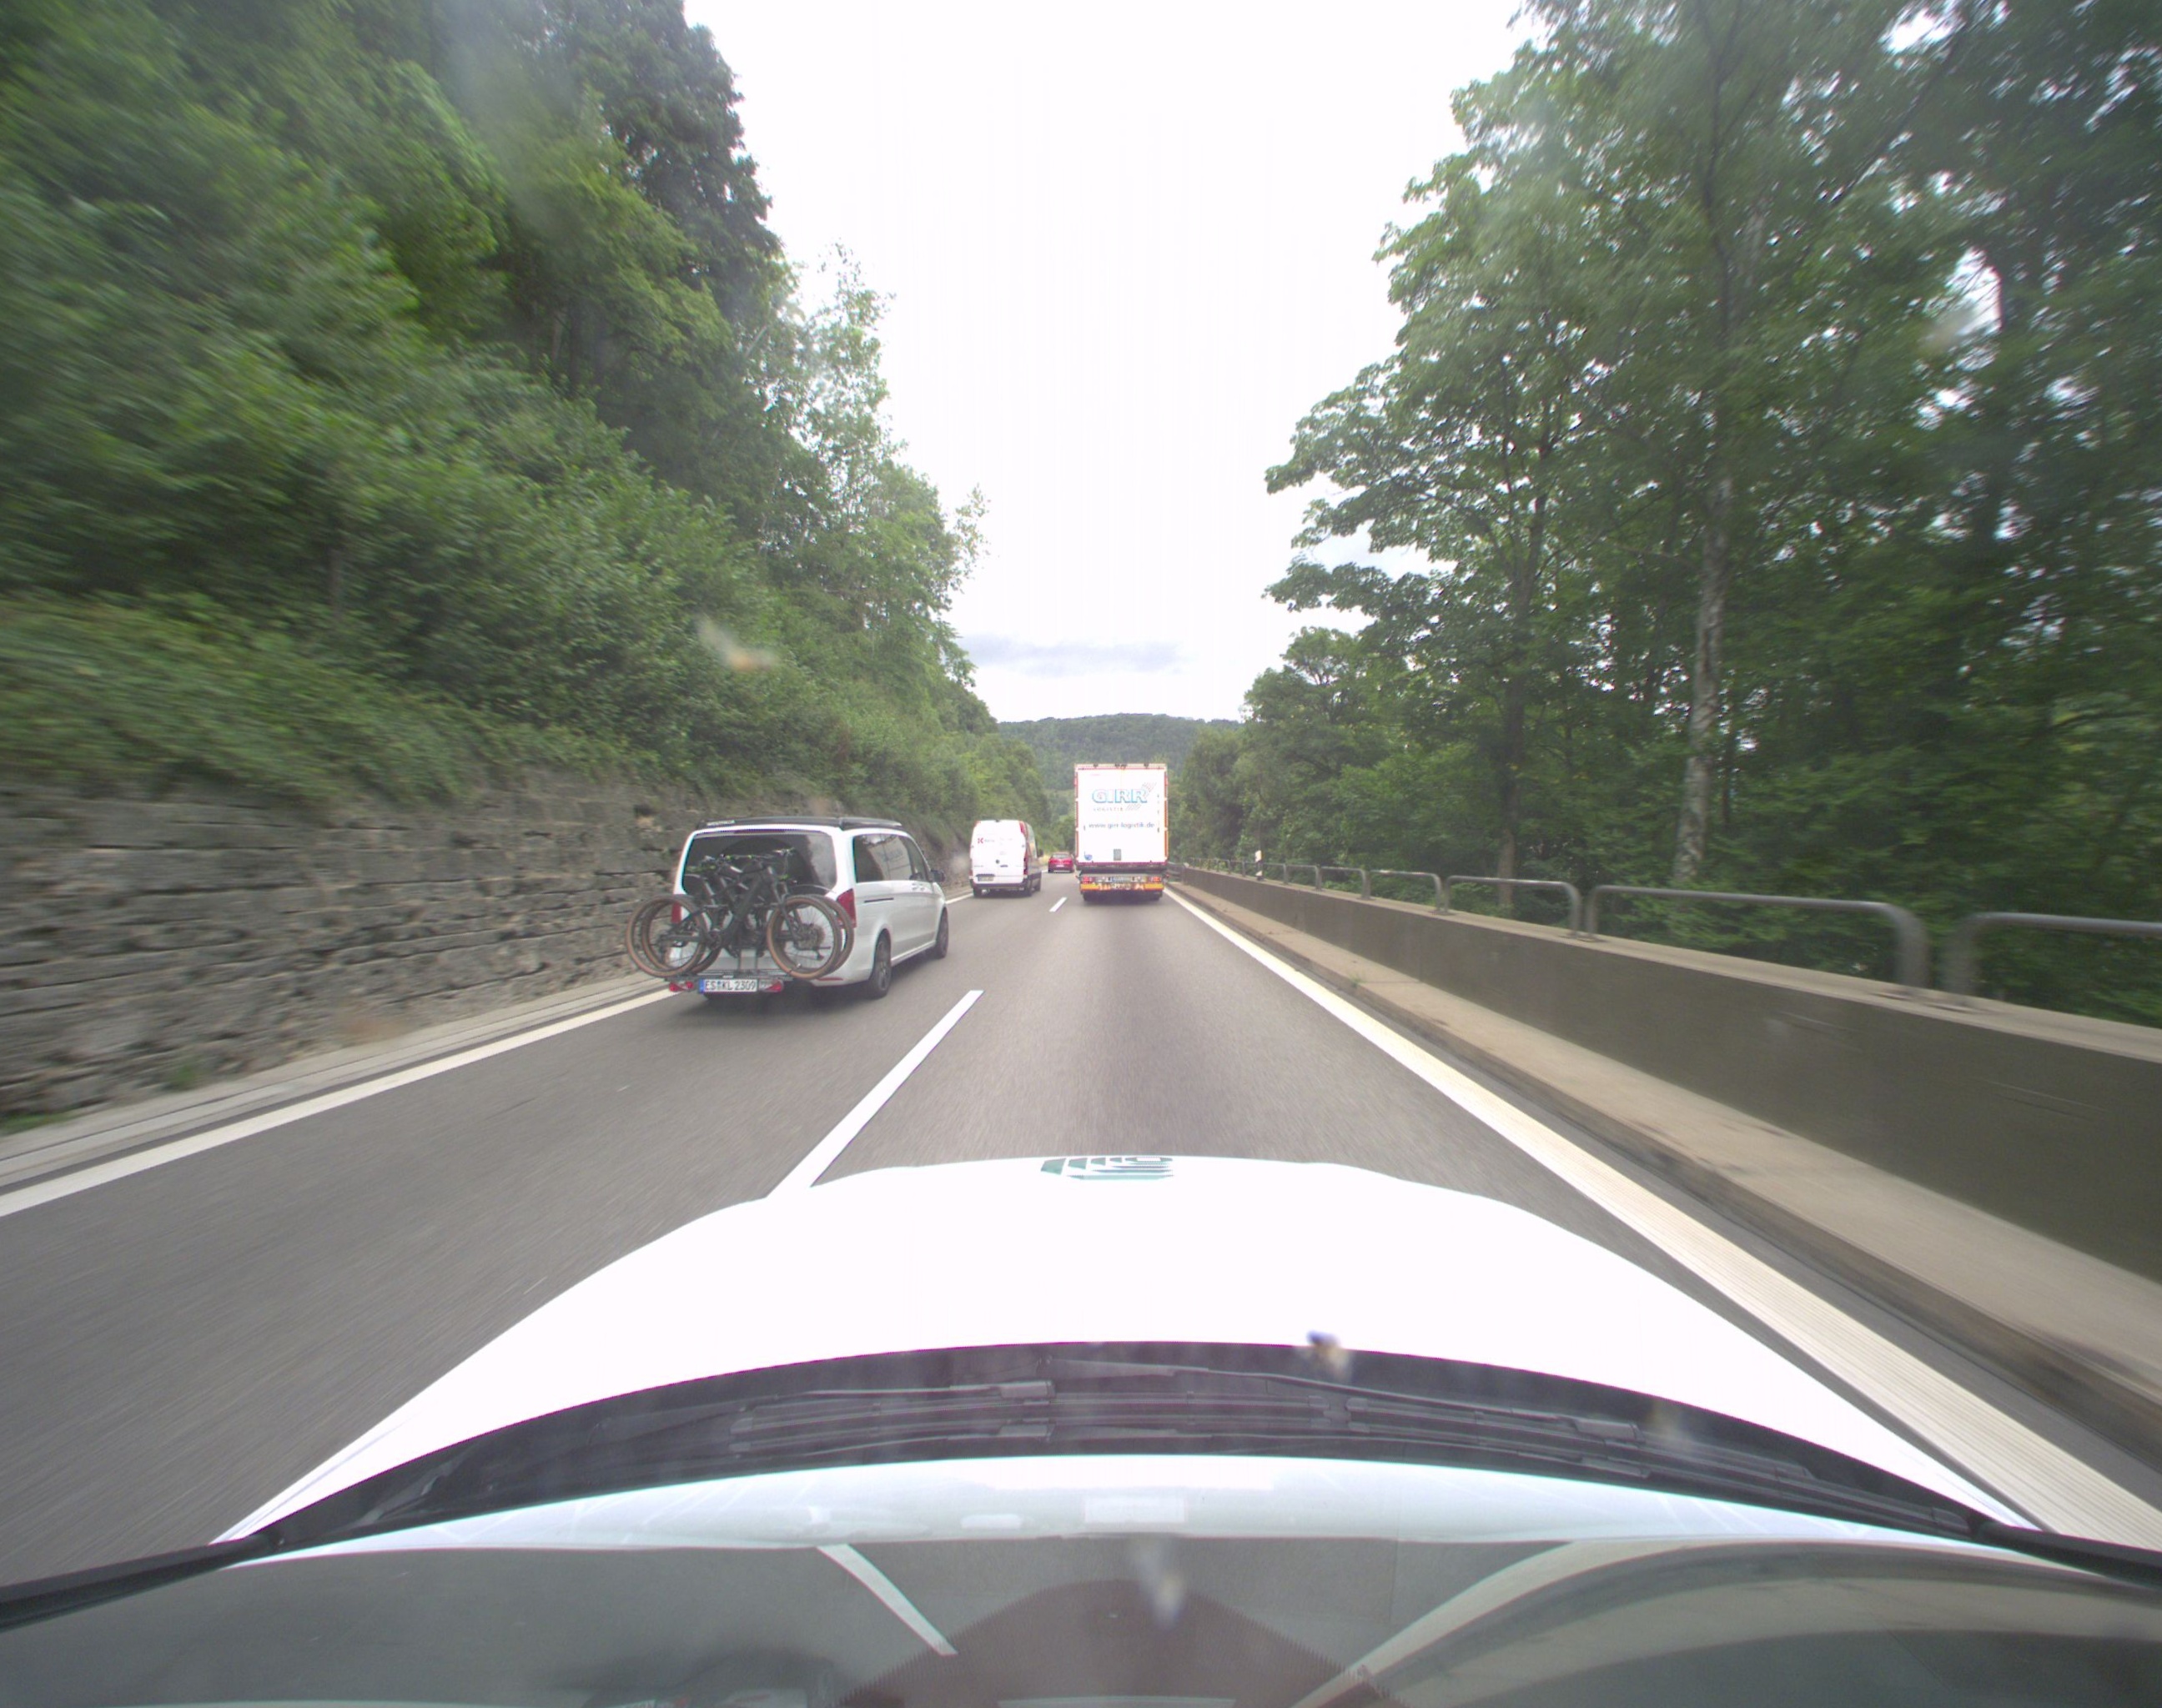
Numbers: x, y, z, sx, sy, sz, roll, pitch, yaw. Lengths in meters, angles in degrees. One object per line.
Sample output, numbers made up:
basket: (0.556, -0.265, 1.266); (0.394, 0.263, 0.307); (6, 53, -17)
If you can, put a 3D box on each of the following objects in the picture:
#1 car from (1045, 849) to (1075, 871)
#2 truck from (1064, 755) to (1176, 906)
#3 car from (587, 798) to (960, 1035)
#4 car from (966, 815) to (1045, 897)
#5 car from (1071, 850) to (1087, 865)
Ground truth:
car: (-1.440, 0.397, 57.809); (1.759, 1.460, 4.413); (-2, 0, 2)
truck: (1.275, -0.634, 26.499); (2.897, 3.960, 9.285); (-2, 0, 3)
car: (-3.008, 0.498, 9.820); (1.986, 1.953, 6.150); (0, 0, 2)
car: (-2.584, 0.068, 29.468); (2.018, 2.585, 6.277); (-2, 0, 2)
car: (-0.164, 0.444, 94.652); (1.662, 1.638, 4.070); (-2, 0, 2)
